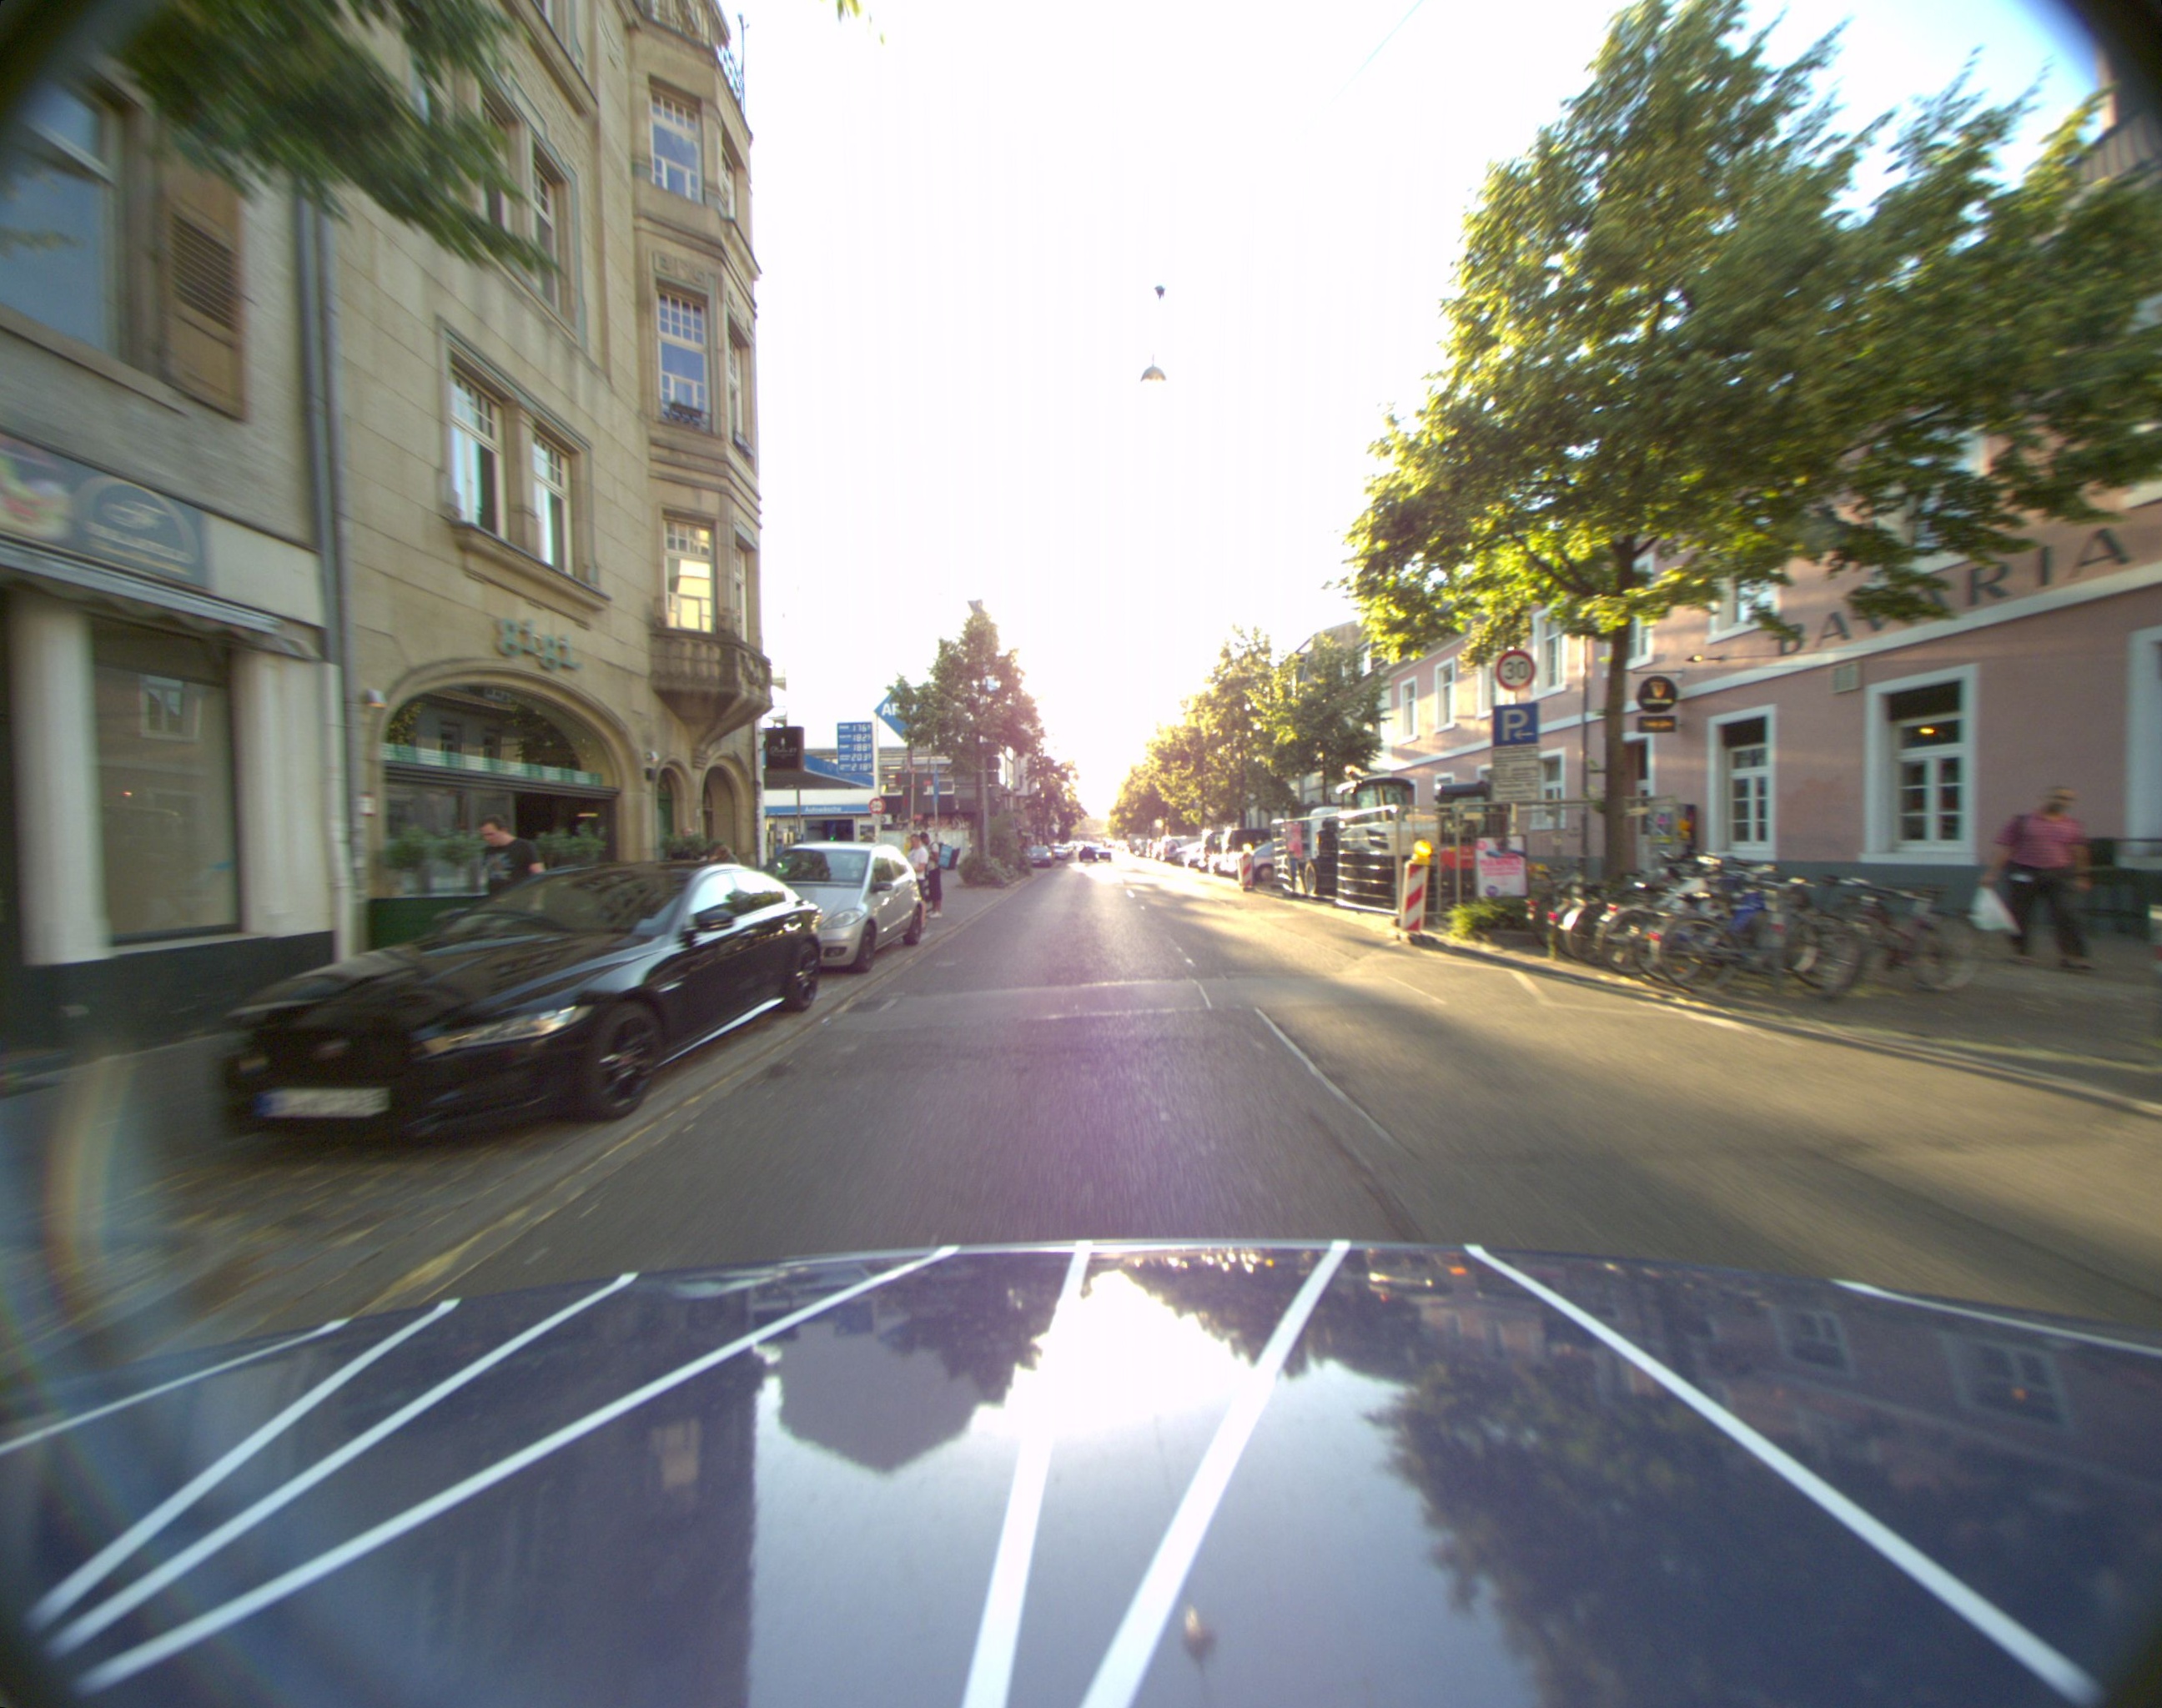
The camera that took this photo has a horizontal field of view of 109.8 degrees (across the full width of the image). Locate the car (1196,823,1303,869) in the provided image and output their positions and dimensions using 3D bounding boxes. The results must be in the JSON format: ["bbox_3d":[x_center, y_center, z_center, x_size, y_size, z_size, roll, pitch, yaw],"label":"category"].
[{"bbox_3d":[7.754,-0.368,35.299,4.494,1.965,2.068,-2,1,1],"label":"car"}]

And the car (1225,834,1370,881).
[{"bbox_3d":[7.538,0.114,26.805,4.604,1.461,1.893,-2,1,4],"label":"car"}]

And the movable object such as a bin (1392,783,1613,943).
[{"bbox_3d":[8.343,0.068,14.688,2.307,2.481,5.766,0,2,44],"label":"movable object such as a bin"}]

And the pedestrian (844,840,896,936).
[{"bbox_3d":[-3.865,0.596,13.925,0.654,1.690,0.666,0,2,-43],"label":"pedestrian"}]

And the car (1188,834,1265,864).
[{"bbox_3d":[8.042,-0.284,42.320,3.932,1.492,1.905,-2,1,3],"label":"car"}]

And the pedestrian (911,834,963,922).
[{"bbox_3d":[-3.045,0.496,16.139,1.017,1.815,0.779,1,1,-9],"label":"pedestrian"}]

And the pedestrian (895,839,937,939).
[{"bbox_3d":[-2.944,0.602,13.643,0.679,1.744,0.824,-1,2,-10],"label":"pedestrian"}]

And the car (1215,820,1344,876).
[{"bbox_3d":[7.735,-0.242,29.931,4.495,1.965,1.965,-2,1,-1],"label":"car"}]

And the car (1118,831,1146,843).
[{"bbox_3d":[8.932,-2.969,132.706,4.718,1.801,2.053,-2,1,2],"label":"car"}]

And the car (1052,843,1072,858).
[{"bbox_3d":[-2.011,-0.429,81.703,1.846,1.472,5.189,1,1,1],"label":"car"}]

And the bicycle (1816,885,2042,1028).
[{"bbox_3d":[7.133,0.841,6.413,1.491,1.053,0.470,-2,3,-5],"label":"bicycle"}]

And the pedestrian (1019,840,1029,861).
[{"bbox_3d":[-4.759,-0.281,63.523,0.790,1.694,0.700,0,1,1],"label":"pedestrian"}]

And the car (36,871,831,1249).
[{"bbox_3d":[-3.453,0.919,5.437,1.789,1.367,4.523,1,1,0],"label":"car"}]

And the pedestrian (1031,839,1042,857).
[{"bbox_3d":[-4.270,-0.592,72.678,0.924,1.749,0.762,0,1,1],"label":"pedestrian"}]

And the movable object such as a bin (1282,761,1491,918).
[{"bbox_3d":[6.572,-0.316,17.226,2.631,2.952,5.302,-1,1,1],"label":"movable object such as a bin"}]

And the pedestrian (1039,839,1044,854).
[{"bbox_3d":[-4.960,-0.969,95.414,0.627,1.857,0.976,2,2,0],"label":"pedestrian"}]

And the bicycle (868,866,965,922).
[{"bbox_3d":[-3.539,0.838,16.503,0.864,1.092,1.931,2,1,40],"label":"bicycle"}]

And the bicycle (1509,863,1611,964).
[{"bbox_3d":[6.178,0.728,9.778,1.551,1.110,0.443,-5,3,-32],"label":"bicycle"}]

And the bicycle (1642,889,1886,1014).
[{"bbox_3d":[6.224,0.886,6.983,1.686,1.016,0.444,-3,3,9],"label":"bicycle"}]

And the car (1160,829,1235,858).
[{"bbox_3d":[8.026,-0.699,52.599,4.882,1.897,1.973,-1,1,1],"label":"car"}]

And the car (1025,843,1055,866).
[{"bbox_3d":[-2.741,-0.015,51.382,1.833,1.479,4.848,1,1,-1],"label":"car"}]

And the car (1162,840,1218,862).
[{"bbox_3d":[8.292,-0.245,58.048,4.046,1.546,1.964,-1,1,3],"label":"car"}]

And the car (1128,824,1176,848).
[{"bbox_3d":[8.682,-2.183,93.381,5.672,2.607,2.171,-2,1,1],"label":"car"}]

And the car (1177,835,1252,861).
[{"bbox_3d":[8.372,-0.370,47.907,4.488,1.477,1.734,-2,1,3],"label":"car"}]

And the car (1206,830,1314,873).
[{"bbox_3d":[7.602,-0.117,32.567,4.140,1.627,1.860,-2,1,1],"label":"car"}]

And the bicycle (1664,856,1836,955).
[{"bbox_3d":[8.357,0.638,9.530,1.686,1.142,0.444,-2,3,4],"label":"bicycle"}]

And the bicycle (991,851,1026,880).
[{"bbox_3d":[-2.924,0.456,30.942,0.482,1.136,1.684,3,2,31],"label":"bicycle"}]

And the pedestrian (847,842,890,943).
[{"bbox_3d":[-3.710,0.655,13.316,0.680,1.696,0.824,1,1,-14],"label":"pedestrian"}]

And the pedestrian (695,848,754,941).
[{"bbox_3d":[-6.140,0.681,13.124,0.660,1.553,0.701,1,1,1],"label":"pedestrian"}]

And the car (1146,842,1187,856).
[{"bbox_3d":[8.978,-0.525,79.944,4.162,1.431,1.593,-1,1,2],"label":"car"}]

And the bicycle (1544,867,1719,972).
[{"bbox_3d":[6.415,0.758,8.885,1.687,1.073,0.444,-4,3,0],"label":"bicycle"}]

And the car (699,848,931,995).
[{"bbox_3d":[-3.354,0.732,10.432,1.691,1.566,4.012,1,1,1],"label":"car"}]

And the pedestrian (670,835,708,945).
[{"bbox_3d":[-6.786,0.613,13.167,0.462,1.864,0.500,-1,1,-14],"label":"pedestrian"}]

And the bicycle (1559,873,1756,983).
[{"bbox_3d":[6.251,0.808,8.297,1.686,1.073,0.444,-3,3,9],"label":"bicycle"}]

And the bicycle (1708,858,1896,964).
[{"bbox_3d":[8.377,0.657,8.869,1.686,1.142,0.444,-2,3,4],"label":"bicycle"}]

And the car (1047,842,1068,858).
[{"bbox_3d":[-2.334,-0.419,76.439,1.884,1.565,4.691,1,1,1],"label":"car"}]

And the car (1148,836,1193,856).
[{"bbox_3d":[8.487,-0.774,72.423,4.148,1.796,1.807,-1,1,2],"label":"car"}]

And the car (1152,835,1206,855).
[{"bbox_3d":[7.800,-0.700,60.510,4.047,1.475,1.962,-1,1,0],"label":"car"}]

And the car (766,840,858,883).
[{"bbox_3d":[-10.277,0.220,29.459,1.739,1.423,4.906,0,2,1],"label":"car"}]

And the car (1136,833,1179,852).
[{"bbox_3d":[8.328,-1.264,82.783,4.510,1.942,1.919,-1,1,3],"label":"car"}]

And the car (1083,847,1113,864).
[{"bbox_3d":[1.428,0.108,65.632,1.686,1.453,4.067,-1,1,-12],"label":"car"}]

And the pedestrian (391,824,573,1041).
[{"bbox_3d":[-5.498,0.665,7.055,0.825,1.843,1.097,1,1,-1],"label":"pedestrian"}]

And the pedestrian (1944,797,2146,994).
[{"bbox_3d":[9.269,0.366,7.377,1.037,1.756,0.820,0,2,38],"label":"pedestrian"}]

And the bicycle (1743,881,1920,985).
[{"bbox_3d":[7.696,0.801,7.829,1.327,0.974,0.444,-2,3,4],"label":"bicycle"}]

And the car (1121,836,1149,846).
[{"bbox_3d":[8.890,-2.098,124.896,4.393,1.415,1.822,-2,1,0],"label":"car"}]

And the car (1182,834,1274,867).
[{"bbox_3d":[7.575,-0.191,39.385,4.338,1.492,1.841,-2,1,-4],"label":"car"}]

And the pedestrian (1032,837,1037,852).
[{"bbox_3d":[-5.859,-1.172,95.374,0.590,1.799,0.835,2,2,0],"label":"pedestrian"}]

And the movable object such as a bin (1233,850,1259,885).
[{"bbox_3d":[5.384,0.434,24.821,0.691,1.099,0.883,0,1,3],"label":"movable object such as a bin"}]

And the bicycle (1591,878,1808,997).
[{"bbox_3d":[6.178,0.833,7.644,1.686,1.073,0.444,-3,3,9],"label":"bicycle"}]
